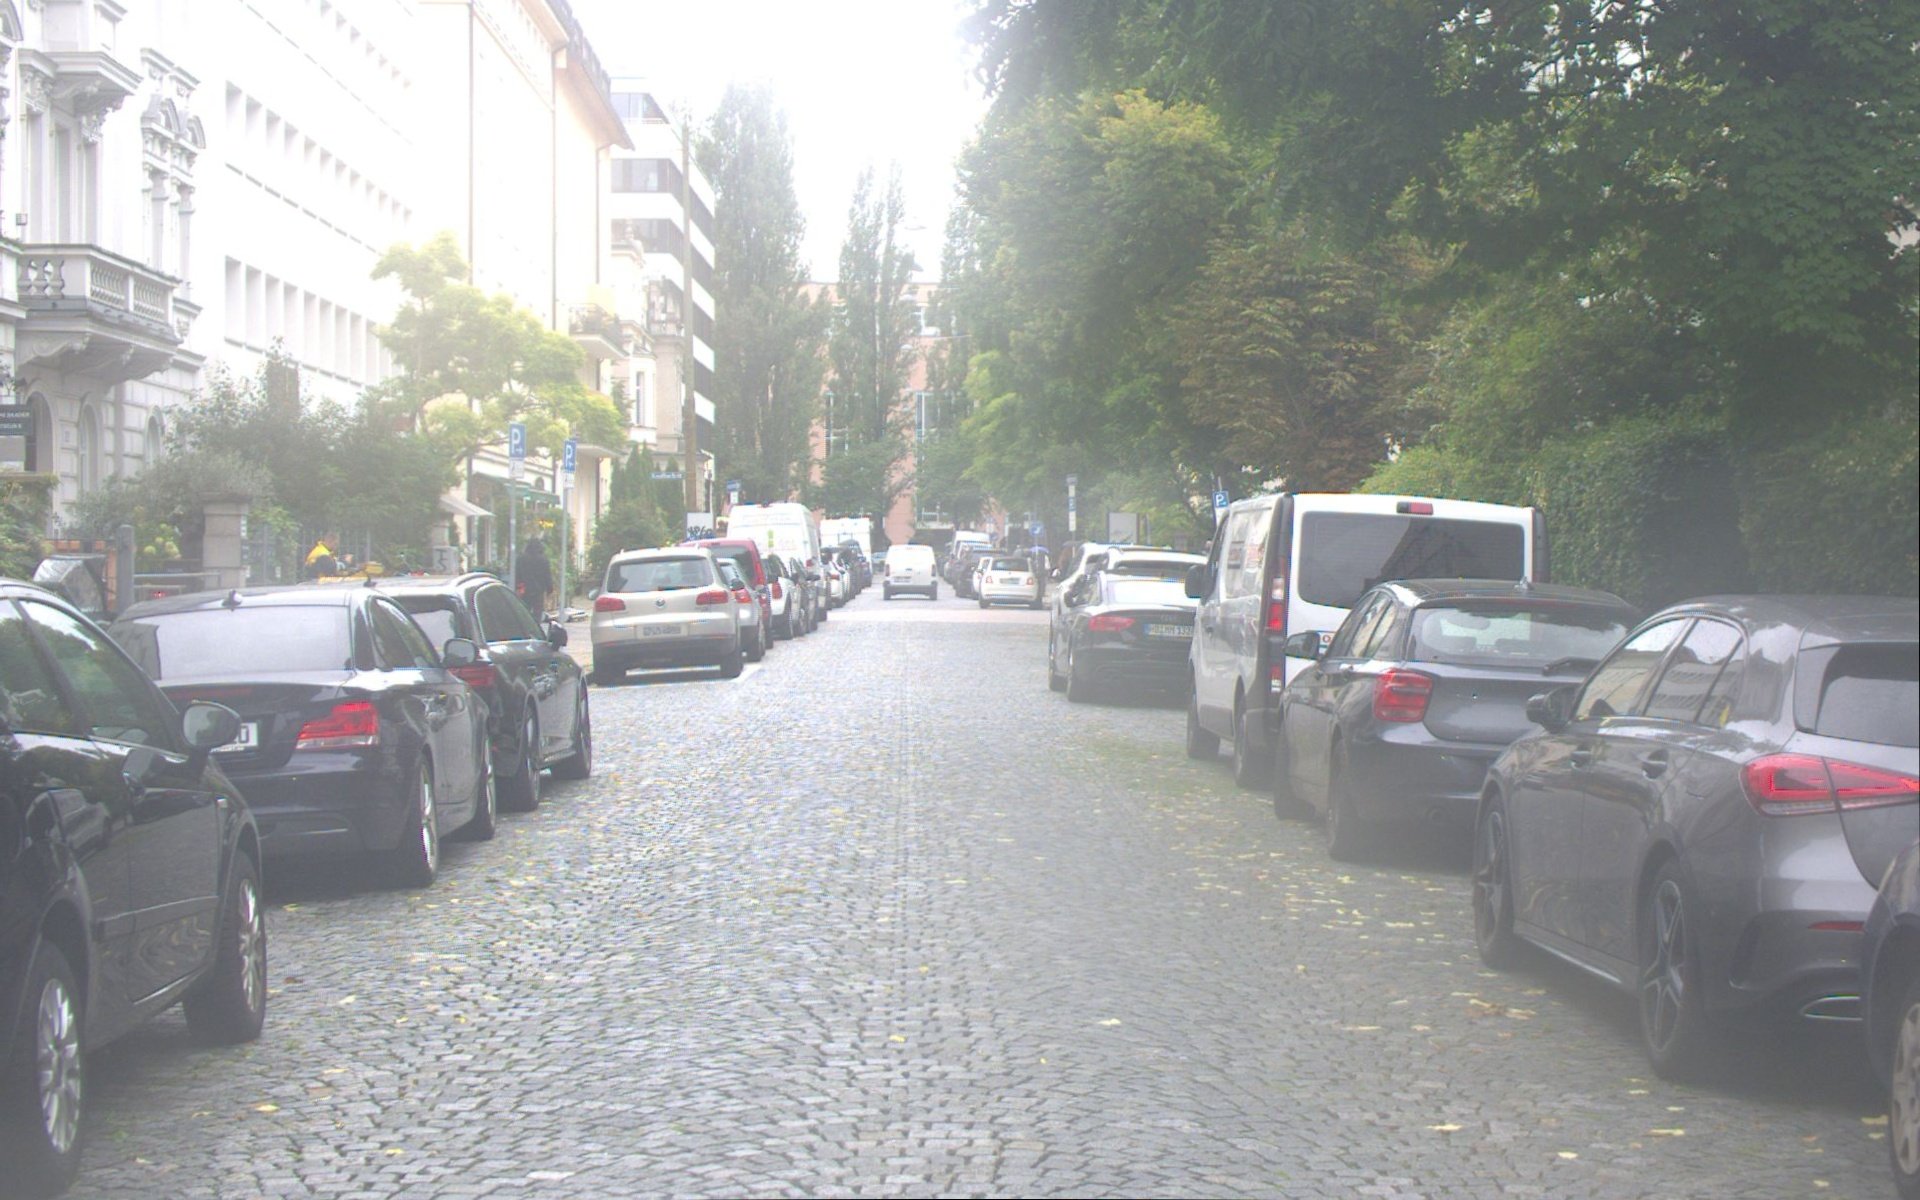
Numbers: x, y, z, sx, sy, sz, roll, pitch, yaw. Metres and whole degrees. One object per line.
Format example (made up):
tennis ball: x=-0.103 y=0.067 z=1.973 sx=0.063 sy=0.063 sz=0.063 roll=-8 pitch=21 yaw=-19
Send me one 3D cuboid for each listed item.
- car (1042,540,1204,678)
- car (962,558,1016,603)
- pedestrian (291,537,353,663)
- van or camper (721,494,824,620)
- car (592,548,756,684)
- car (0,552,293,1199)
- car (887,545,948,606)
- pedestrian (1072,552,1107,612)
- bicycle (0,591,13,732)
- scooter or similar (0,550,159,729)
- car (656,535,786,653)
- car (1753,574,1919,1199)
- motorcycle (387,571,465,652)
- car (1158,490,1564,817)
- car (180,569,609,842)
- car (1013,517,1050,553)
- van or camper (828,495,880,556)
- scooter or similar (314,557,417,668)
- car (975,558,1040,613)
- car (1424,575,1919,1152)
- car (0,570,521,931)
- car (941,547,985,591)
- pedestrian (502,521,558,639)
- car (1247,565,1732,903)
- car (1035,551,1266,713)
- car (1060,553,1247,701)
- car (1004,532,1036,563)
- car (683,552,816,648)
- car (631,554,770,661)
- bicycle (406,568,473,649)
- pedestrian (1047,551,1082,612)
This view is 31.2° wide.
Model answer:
car: x=2.212 y=0.092 z=47.804 sx=1.873 sy=1.727 sz=4.593 roll=3 pitch=1 yaw=-1
car: x=0.986 y=-0.695 z=118.196 sx=1.790 sy=1.515 sz=4.000 roll=1 pitch=1 yaw=0
pedestrian: x=-8.658 y=-0.003 z=46.662 sx=0.717 sy=1.682 sz=0.695 roll=1 pitch=1 yaw=-1
van or camper: x=-4.140 y=-0.963 z=76.446 sx=1.993 sy=2.643 sz=4.000 roll=-2 pitch=1 yaw=0
car: x=-3.593 y=0.166 z=43.818 sx=1.873 sy=1.574 sz=4.256 roll=-2 pitch=1 yaw=-3
car: x=-2.983 y=0.601 z=9.616 sx=1.662 sy=1.439 sz=4.172 roll=-1 pitch=1 yaw=-4
car: x=-1.419 y=-0.833 z=115.934 sx=1.993 sy=2.007 sz=4.000 roll=1 pitch=1 yaw=0
pedestrian: x=4.336 y=-0.612 z=114.939 sx=0.856 sy=2.007 sz=0.991 roll=0 pitch=1 yaw=-18
bicycle: x=-7.885 y=0.498 z=26.665 sx=0.576 sy=1.118 sz=2.051 roll=0 pitch=1 yaw=-2
scooter or similar: x=-7.594 y=0.303 z=29.354 sx=0.941 sy=1.437 sz=2.657 roll=2 pitch=1 yaw=-2
car: x=-3.869 y=-0.119 z=56.243 sx=1.873 sy=1.770 sz=4.123 roll=-3 pitch=1 yaw=-2
car: x=3.078 y=0.726 z=6.811 sx=1.693 sy=1.435 sz=4.062 roll=3 pitch=1 yaw=-5
motorcycle: x=-8.025 y=0.160 z=51.706 sx=0.623 sy=1.192 sz=1.864 roll=1 pitch=1 yaw=8
car: x=2.628 y=0.296 z=23.808 sx=1.873 sy=1.922 sz=5.165 roll=3 pitch=1 yaw=-3
car: x=-3.408 y=0.574 z=21.549 sx=1.887 sy=1.412 sz=4.407 roll=-3 pitch=1 yaw=0
car: x=4.159 y=-3.788 z=200.419 sx=1.993 sy=2.007 sz=4.000 roll=1 pitch=0 yaw=0
van or camper: x=-4.942 y=-3.473 z=160.999 sx=2.256 sy=2.733 sz=5.098 roll=1 pitch=1 yaw=-1
scooter or similar: x=-7.960 y=0.146 z=46.145 sx=0.941 sy=1.437 sz=2.657 roll=0 pitch=1 yaw=-1
car: x=1.330 y=-0.419 z=97.532 sx=1.790 sy=1.515 sz=4.000 roll=1 pitch=1 yaw=0
car: x=2.754 y=0.709 z=11.195 sx=1.713 sy=1.467 sz=4.269 roll=3 pitch=1 yaw=-2
car: x=-3.288 y=0.614 z=16.780 sx=1.783 sy=1.412 sz=4.497 roll=-3 pitch=1 yaw=-2
car: x=0.137 y=-1.468 z=161.471 sx=1.993 sy=2.007 sz=4.000 roll=1 pitch=1 yaw=0
pedestrian: x=-7.103 y=-0.336 z=56.822 sx=0.792 sy=1.911 sz=0.759 roll=1 pitch=1 yaw=-1
car: x=2.660 y=0.604 z=18.279 sx=1.837 sy=1.485 sz=4.421 roll=3 pitch=1 yaw=0
car: x=1.919 y=0.285 z=35.922 sx=1.873 sy=1.498 sz=4.512 roll=3 pitch=1 yaw=-3
car: x=2.261 y=0.286 z=41.220 sx=1.817 sy=1.574 sz=4.208 roll=4 pitch=1 yaw=-1
car: x=3.895 y=-3.431 z=224.982 sx=1.993 sy=2.007 sz=4.000 roll=1 pitch=0 yaw=0
car: x=-3.732 y=-0.012 z=61.500 sx=1.873 sy=1.574 sz=4.208 roll=3 pitch=1 yaw=3
car: x=-3.720 y=0.073 z=49.840 sx=1.873 sy=1.446 sz=4.208 roll=-1 pitch=1 yaw=-3
bicycle: x=-8.170 y=0.123 z=53.871 sx=0.655 sy=1.217 sz=2.090 roll=0 pitch=1 yaw=-19
pedestrian: x=3.486 y=-0.620 z=114.504 sx=0.856 sy=2.007 sz=0.991 roll=0 pitch=1 yaw=-18
